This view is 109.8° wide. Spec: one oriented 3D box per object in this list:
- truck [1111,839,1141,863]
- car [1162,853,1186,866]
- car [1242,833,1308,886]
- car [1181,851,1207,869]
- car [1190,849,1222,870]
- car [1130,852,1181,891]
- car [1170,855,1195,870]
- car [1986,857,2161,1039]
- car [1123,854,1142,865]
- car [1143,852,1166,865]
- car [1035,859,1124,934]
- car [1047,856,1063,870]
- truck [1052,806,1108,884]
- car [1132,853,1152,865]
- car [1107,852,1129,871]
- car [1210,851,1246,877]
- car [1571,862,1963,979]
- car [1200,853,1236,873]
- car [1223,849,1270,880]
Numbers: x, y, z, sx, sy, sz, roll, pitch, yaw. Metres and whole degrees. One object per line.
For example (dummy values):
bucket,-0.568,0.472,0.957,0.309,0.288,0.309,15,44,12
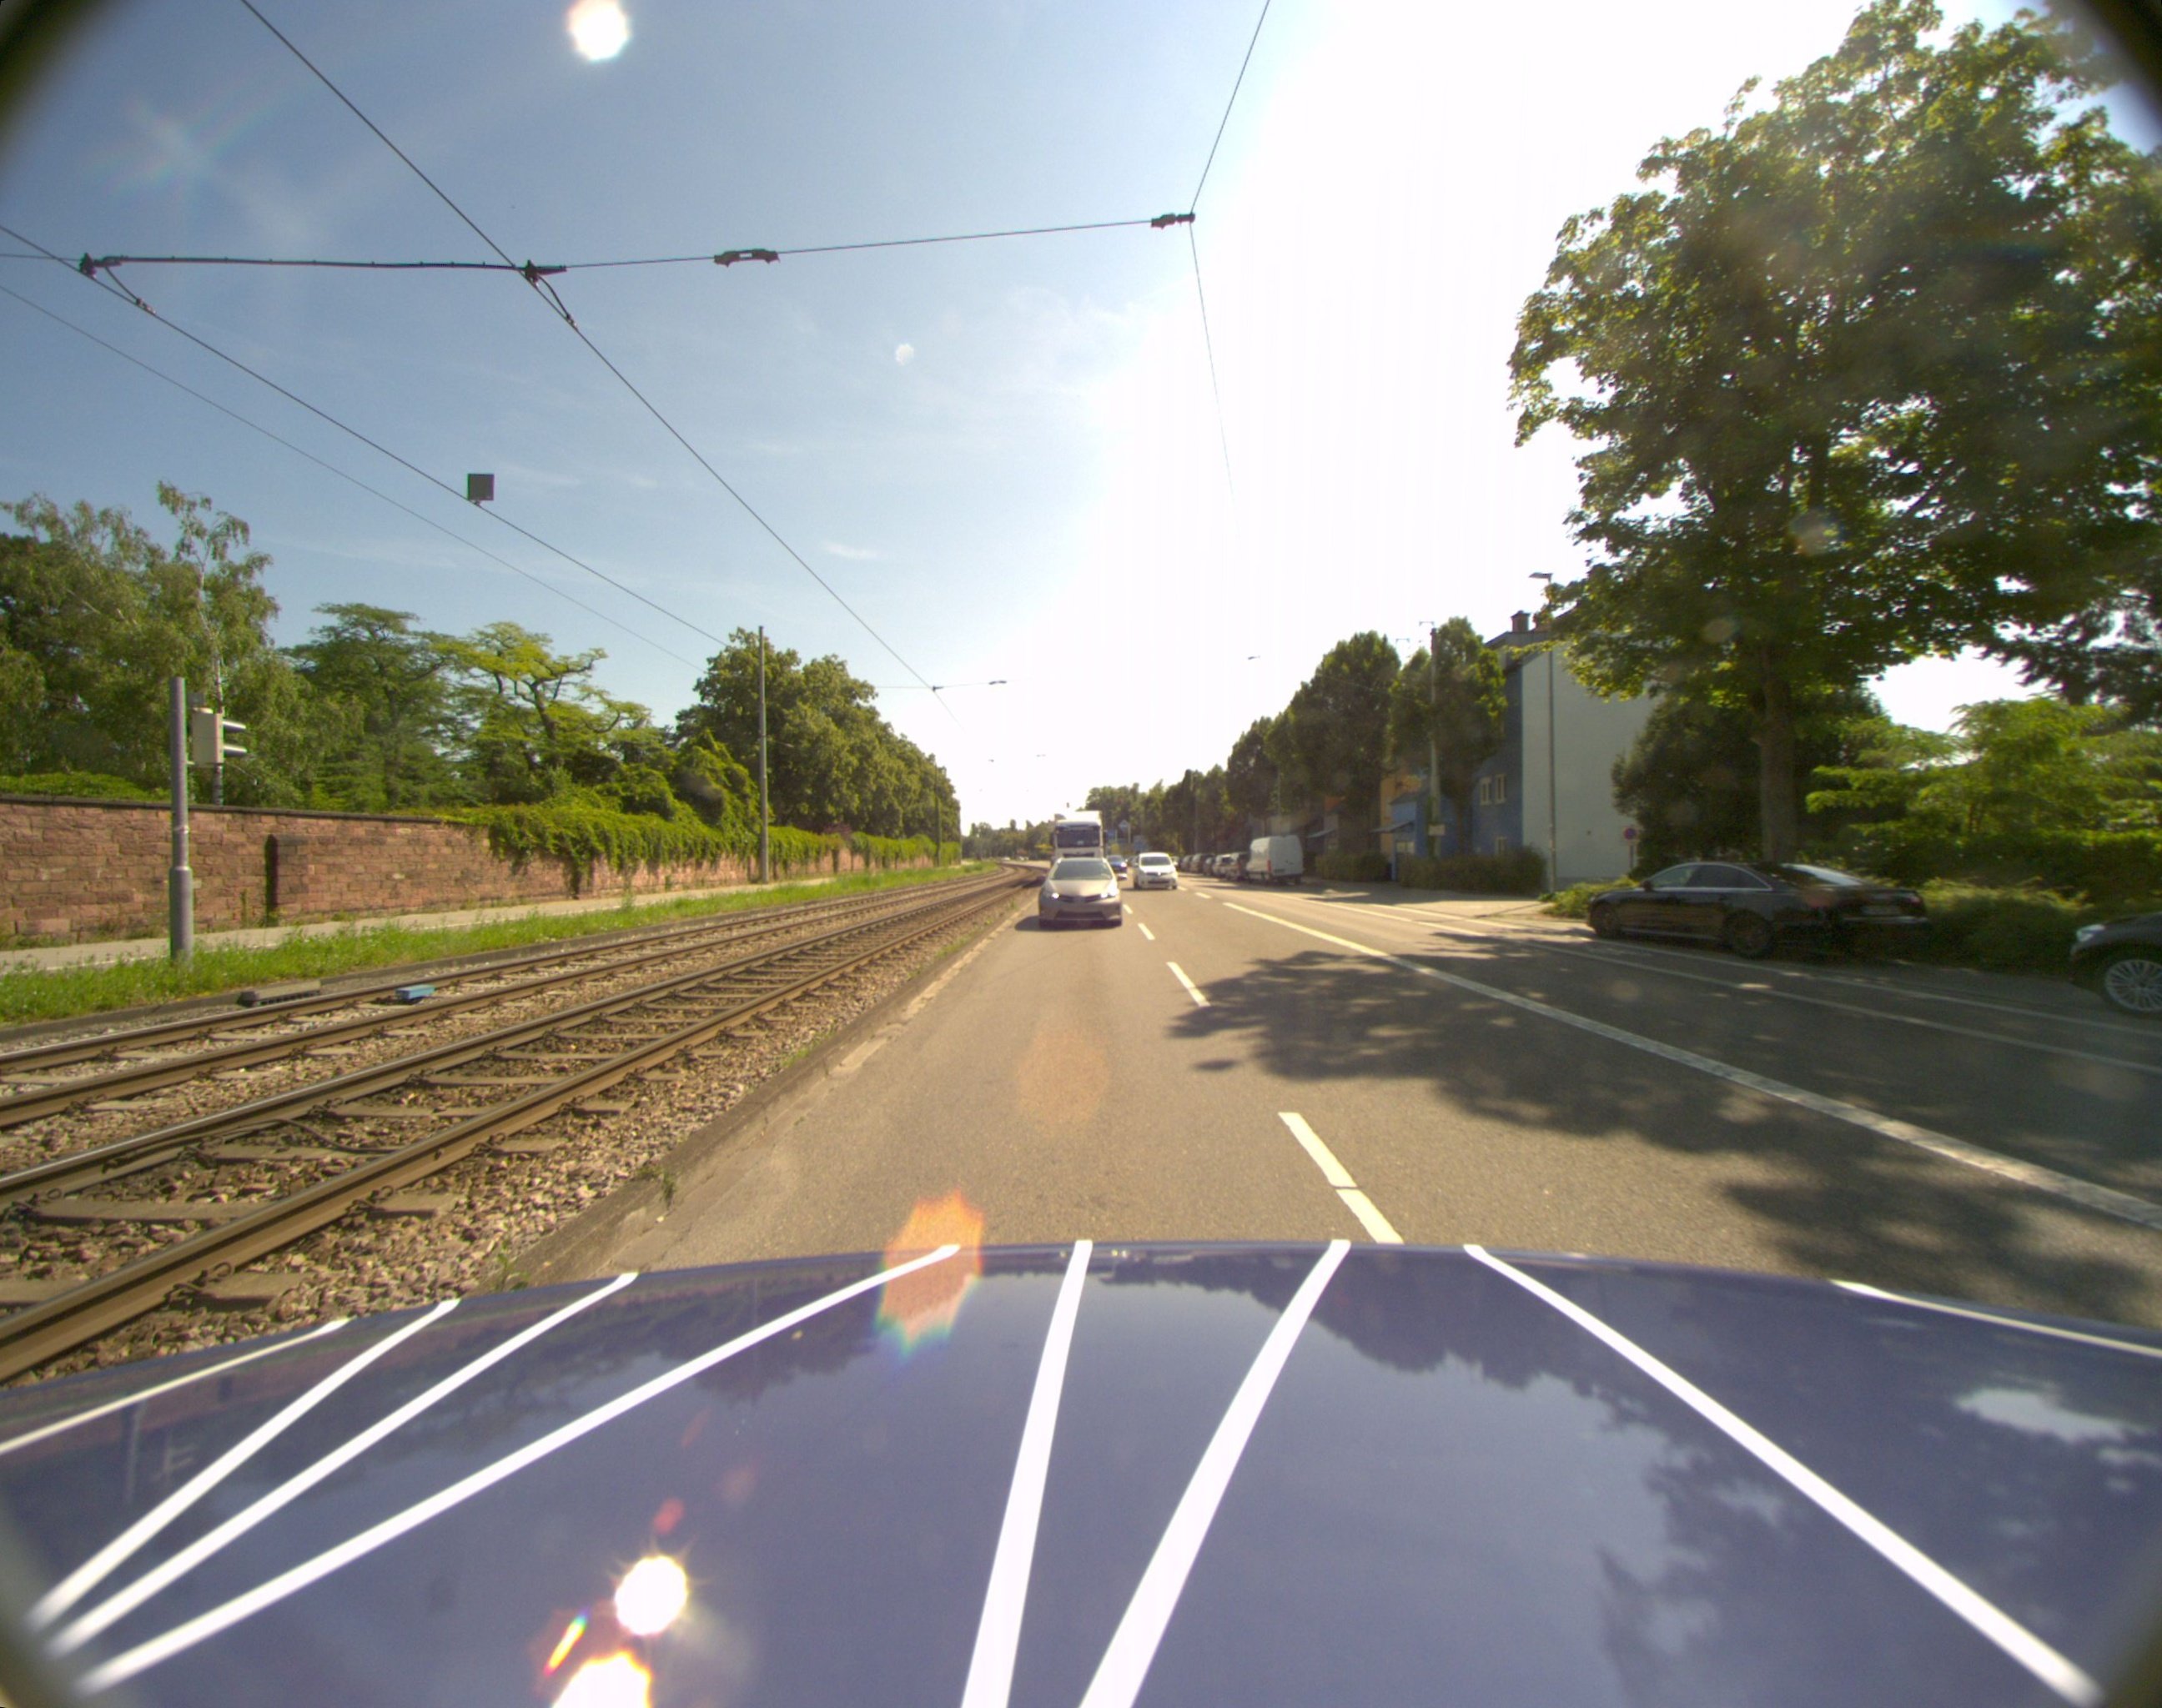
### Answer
truck,6.806,-0.494,117.098,3.165,3.533,8.779,0,0,-6
car,10.477,0.590,86.133,1.682,1.437,4.835,-2,1,-6
car,10.993,0.276,43.602,1.998,2.661,7.086,-4,0,1
car,10.784,0.527,72.716,1.681,1.598,4.164,-2,1,-3
car,11.104,0.463,67.660,1.834,1.718,4.348,-3,1,-3
car,3.216,0.719,33.655,1.784,1.538,4.394,-2,0,0
car,10.526,0.858,79.120,1.681,1.462,4.212,-2,1,-4
car,10.554,0.848,5.682,1.766,1.596,4.893,-1,0,0
car,7.366,0.778,109.410,1.915,1.469,4.213,-2,1,-6
car,9.367,0.572,97.242,1.911,1.567,4.929,-2,1,-6
car,-0.001,0.870,17.812,1.747,1.421,5.041,-1,0,1
car,-3.372,1.121,98.773,1.854,1.707,3.999,-2,1,-2
truck,-0.084,-0.481,44.173,2.805,3.926,11.942,0,0,0
car,8.395,0.683,105.038,2.040,1.490,4.130,-2,1,-6
car,3.079,0.614,63.710,1.659,1.517,3.792,0,0,0
car,11.005,0.735,57.221,1.853,1.693,4.540,-4,1,1
car,10.611,0.894,12.442,1.845,1.457,4.908,0,0,-3
car,11.205,0.711,62.384,1.871,1.447,4.074,-4,1,-3
car,11.179,0.648,51.664,1.998,1.855,4.966,-5,0,1
